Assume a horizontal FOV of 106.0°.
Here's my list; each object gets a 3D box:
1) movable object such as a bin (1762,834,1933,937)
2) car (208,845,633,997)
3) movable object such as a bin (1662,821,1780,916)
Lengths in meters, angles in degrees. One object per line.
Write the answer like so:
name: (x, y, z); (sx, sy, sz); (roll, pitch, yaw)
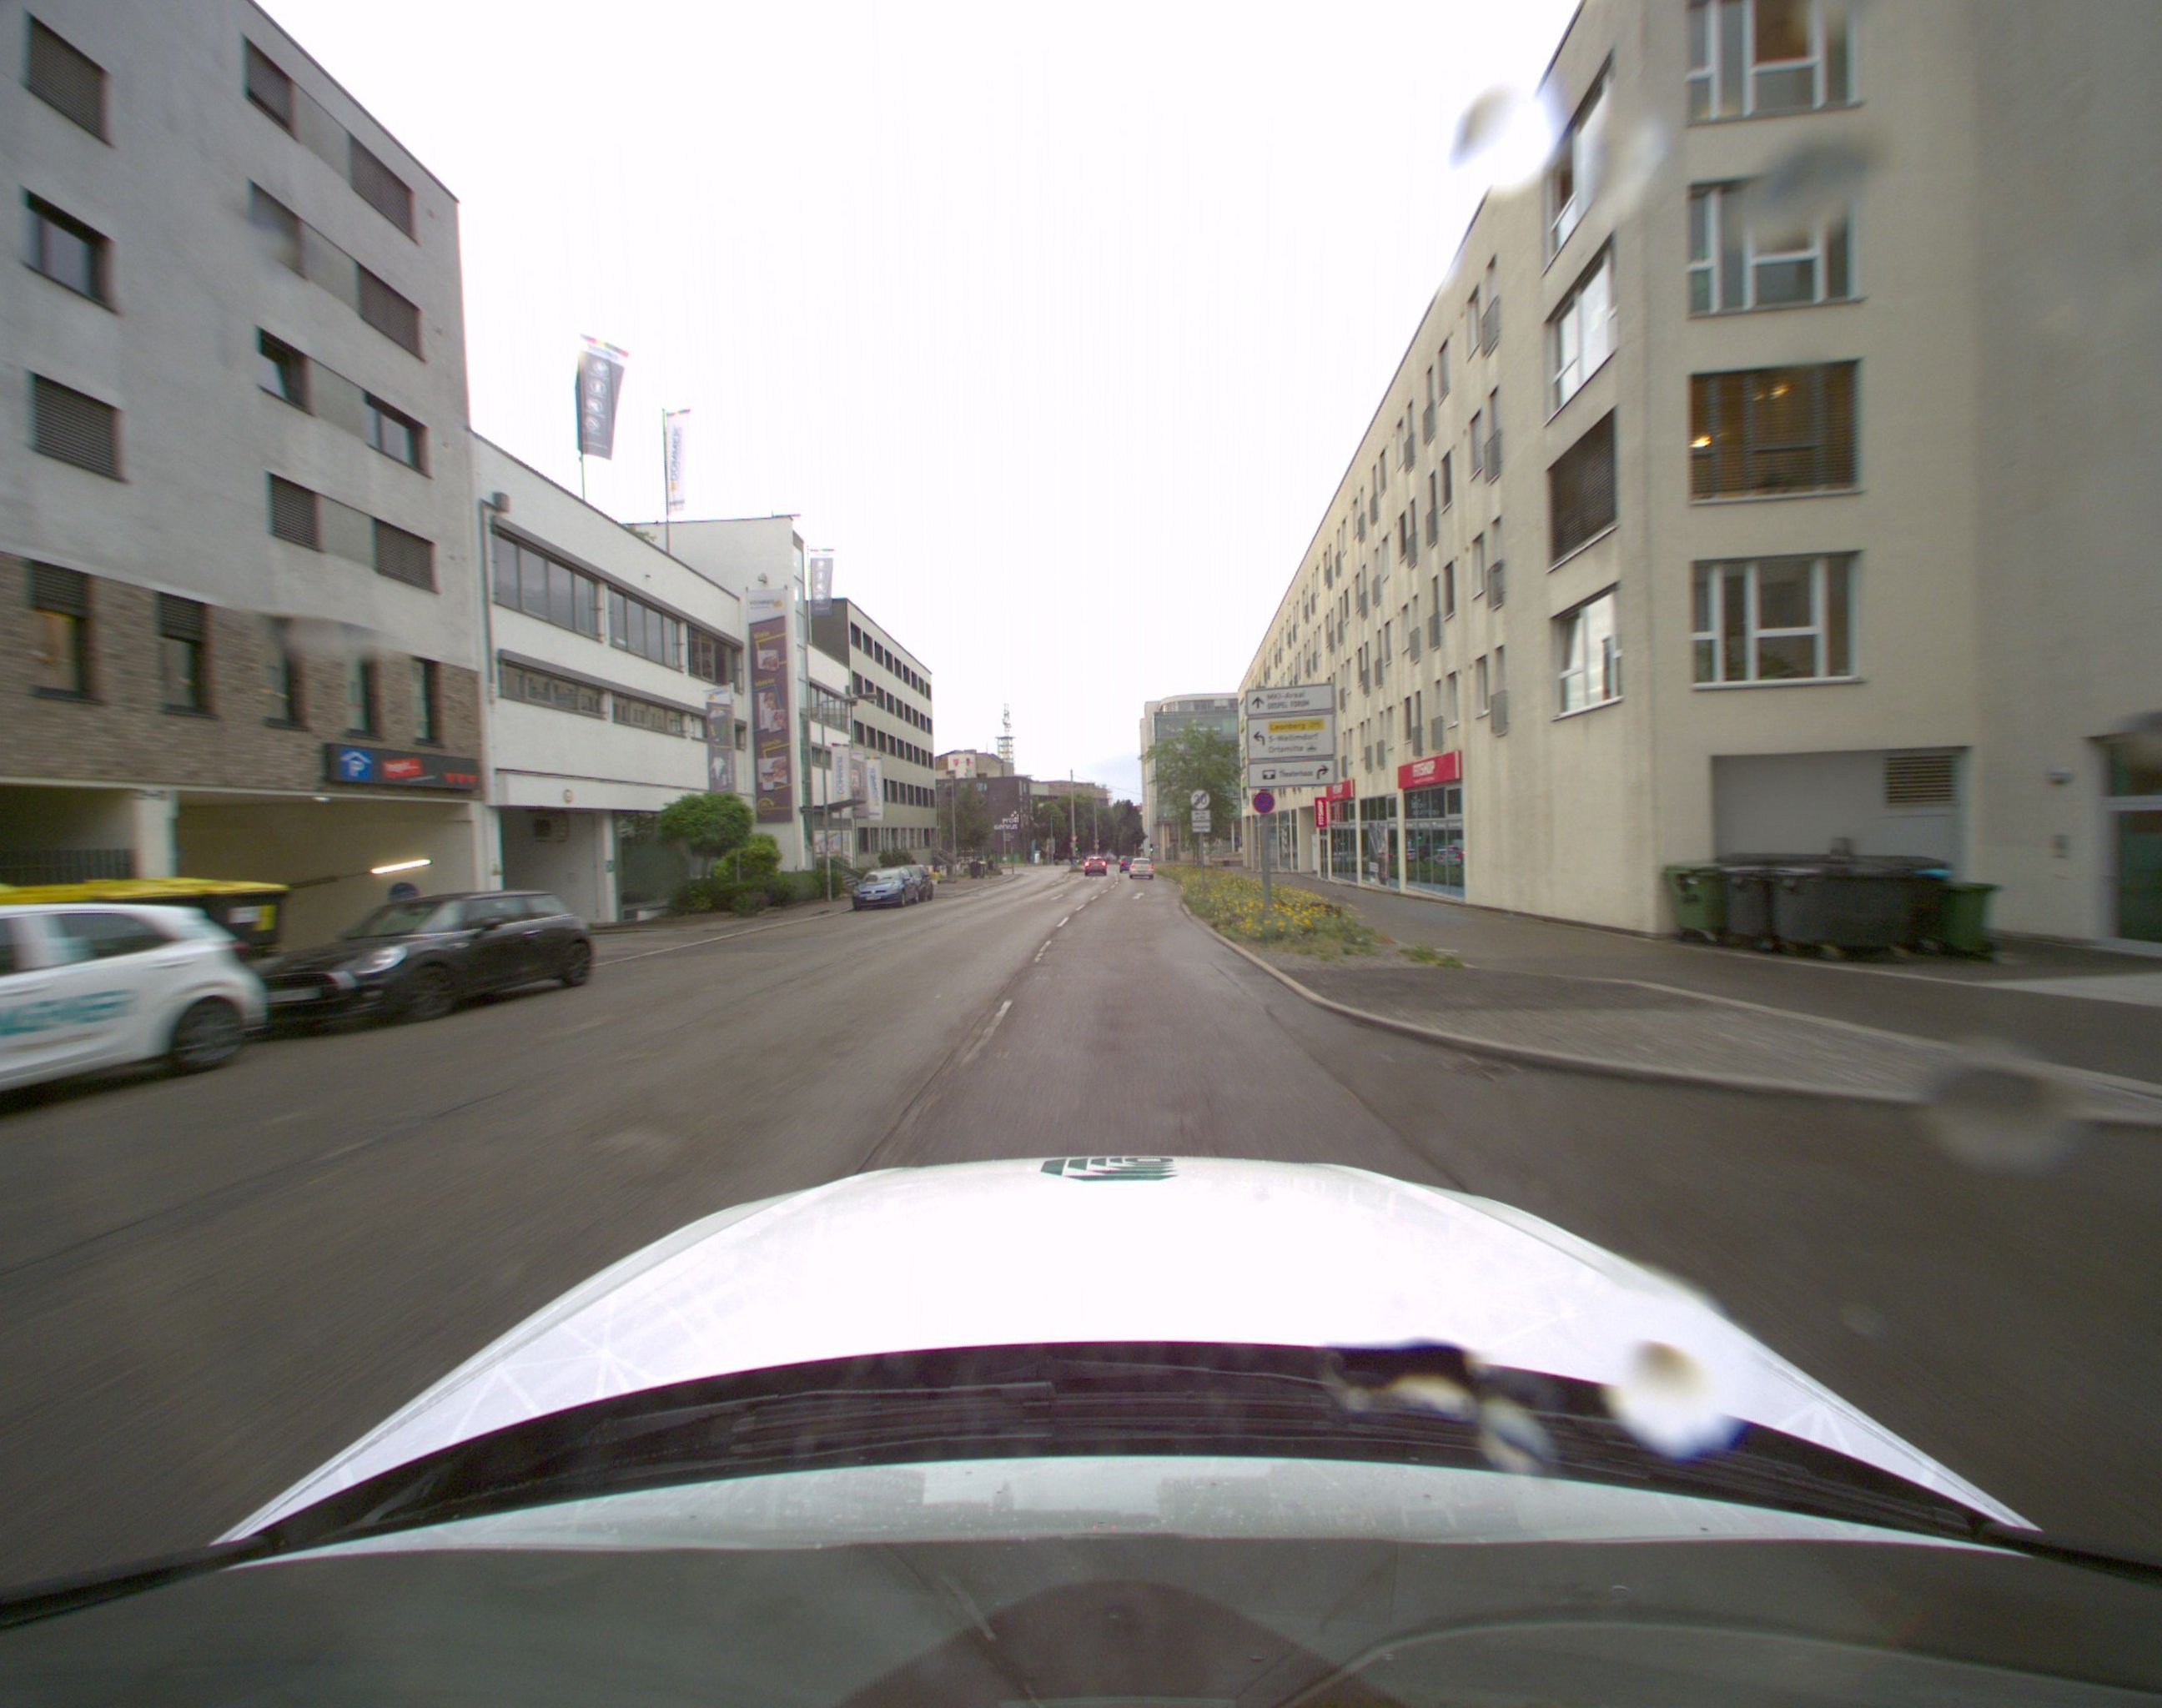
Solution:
movable object such as a bin: (10.655, 0.426, 11.391); (1.230, 1.320, 1.193); (-2, -1, 3)
car: (-7.893, 0.694, 10.402); (1.789, 1.516, 4.249); (-1, 0, 3)
movable object such as a bin: (10.613, 0.229, 13.552); (1.168, 1.503, 1.015); (-1, 0, 4)
